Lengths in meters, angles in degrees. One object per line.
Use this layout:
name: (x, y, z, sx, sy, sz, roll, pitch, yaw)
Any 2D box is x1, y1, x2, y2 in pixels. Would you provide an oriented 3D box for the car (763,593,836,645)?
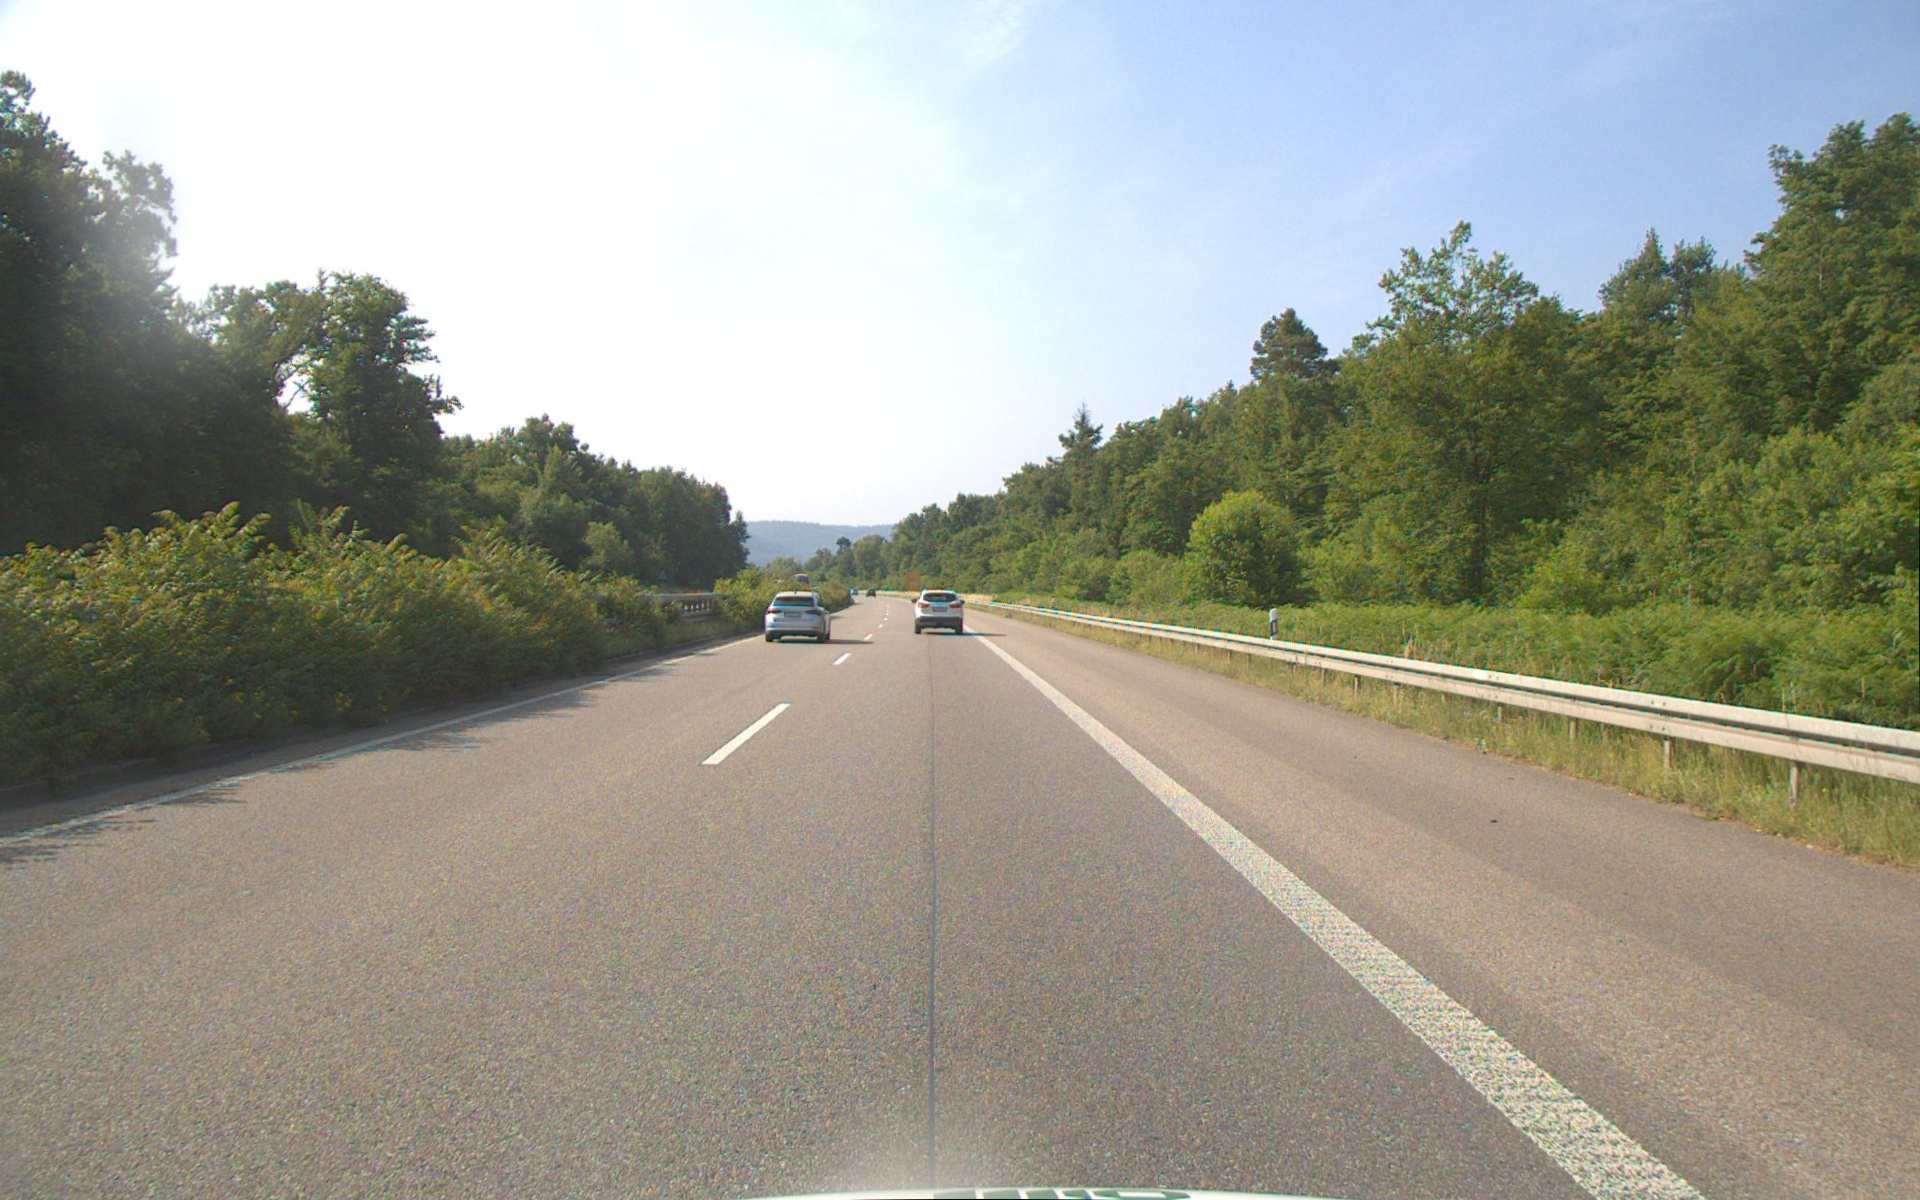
car: (-4.768, 0.527, 49.808, 1.756, 1.463, 5.277, 0, 0, -1)

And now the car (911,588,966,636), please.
car: (-0.839, 0.431, 61.350, 1.836, 1.614, 3.998, 3, 1, -3)
